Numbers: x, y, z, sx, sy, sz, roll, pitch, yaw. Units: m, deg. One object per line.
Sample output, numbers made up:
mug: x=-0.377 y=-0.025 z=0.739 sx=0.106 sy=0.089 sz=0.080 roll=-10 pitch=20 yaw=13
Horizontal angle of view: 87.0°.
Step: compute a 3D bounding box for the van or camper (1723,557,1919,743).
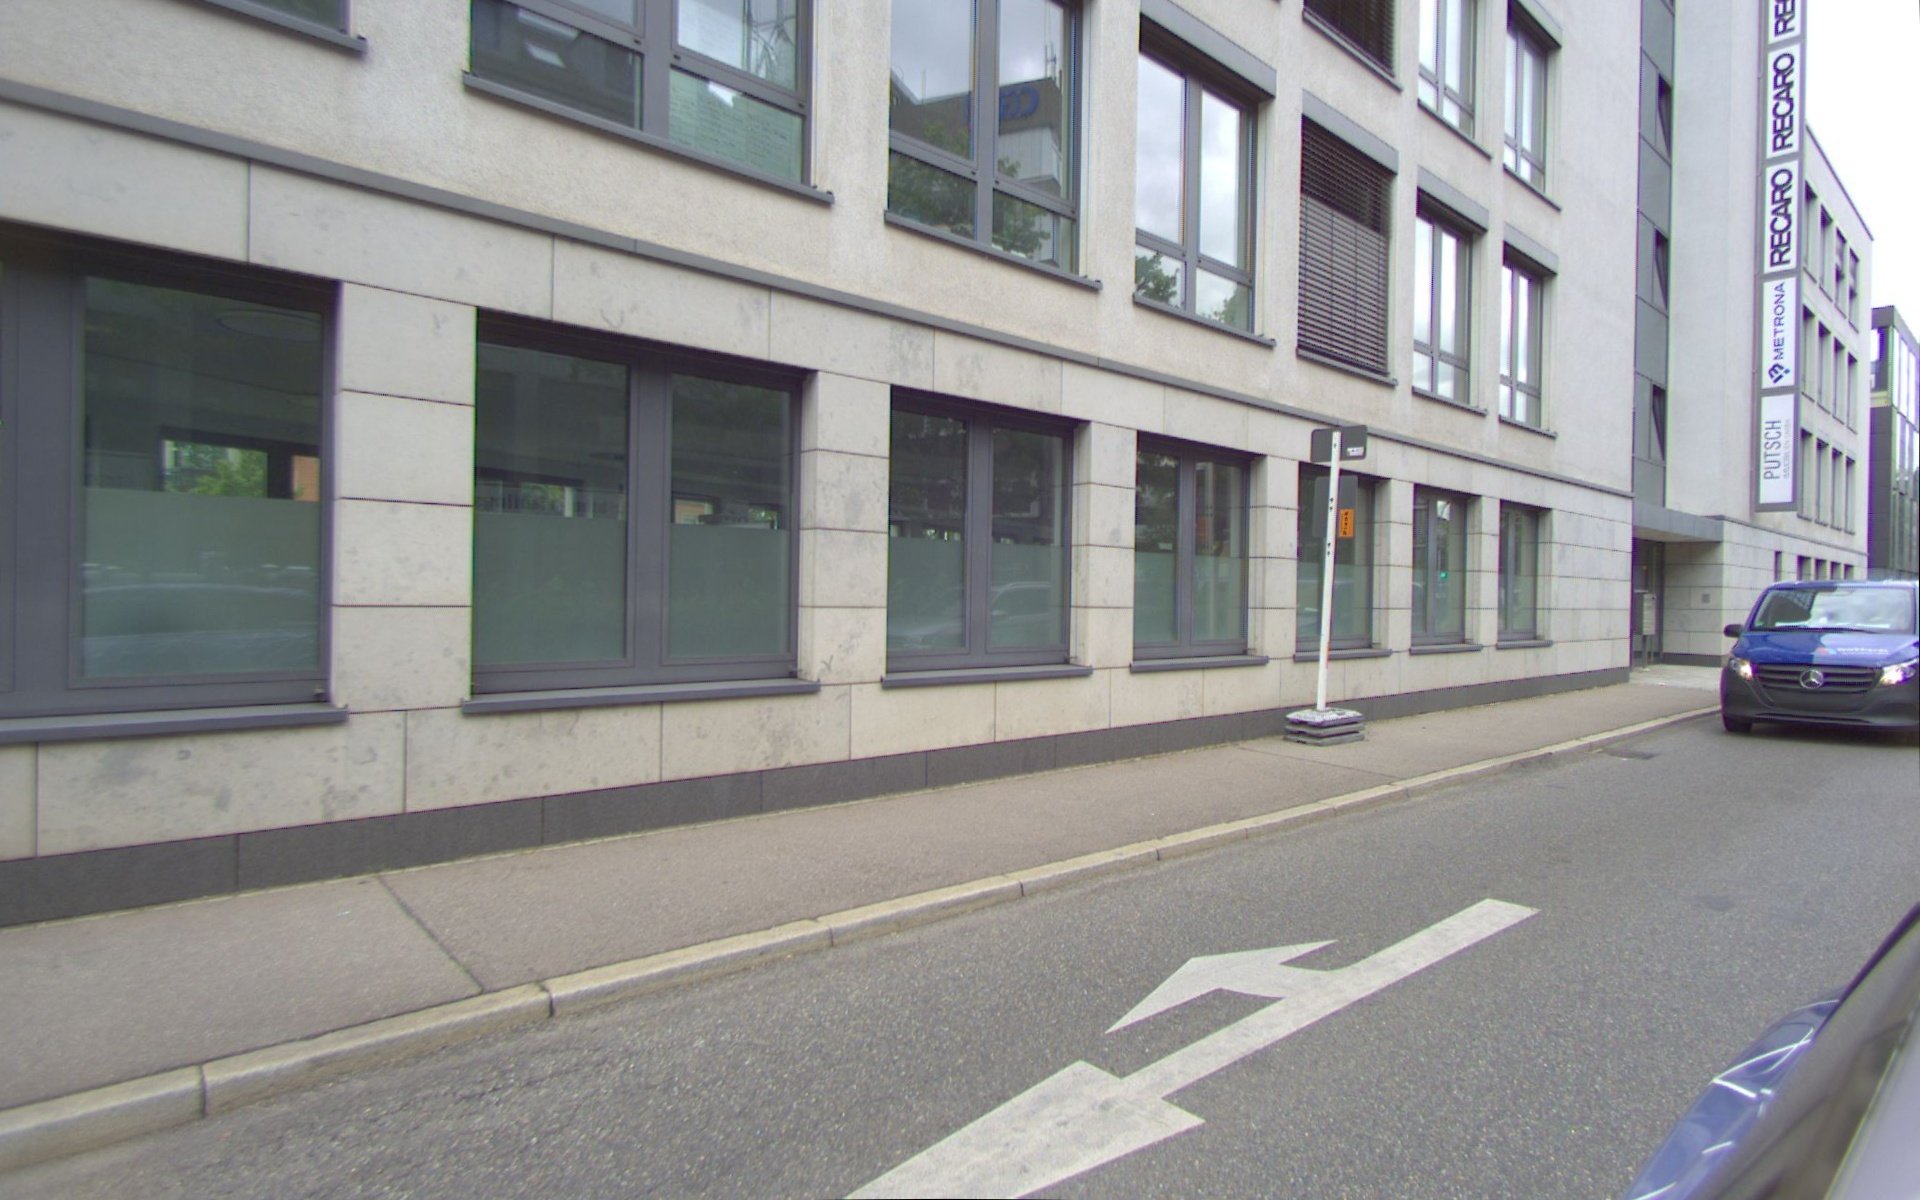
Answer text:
van or camper: x=11.385 y=0.502 z=12.712 sx=4.943 sy=1.935 sz=1.863 roll=0 pitch=1 yaw=-41
